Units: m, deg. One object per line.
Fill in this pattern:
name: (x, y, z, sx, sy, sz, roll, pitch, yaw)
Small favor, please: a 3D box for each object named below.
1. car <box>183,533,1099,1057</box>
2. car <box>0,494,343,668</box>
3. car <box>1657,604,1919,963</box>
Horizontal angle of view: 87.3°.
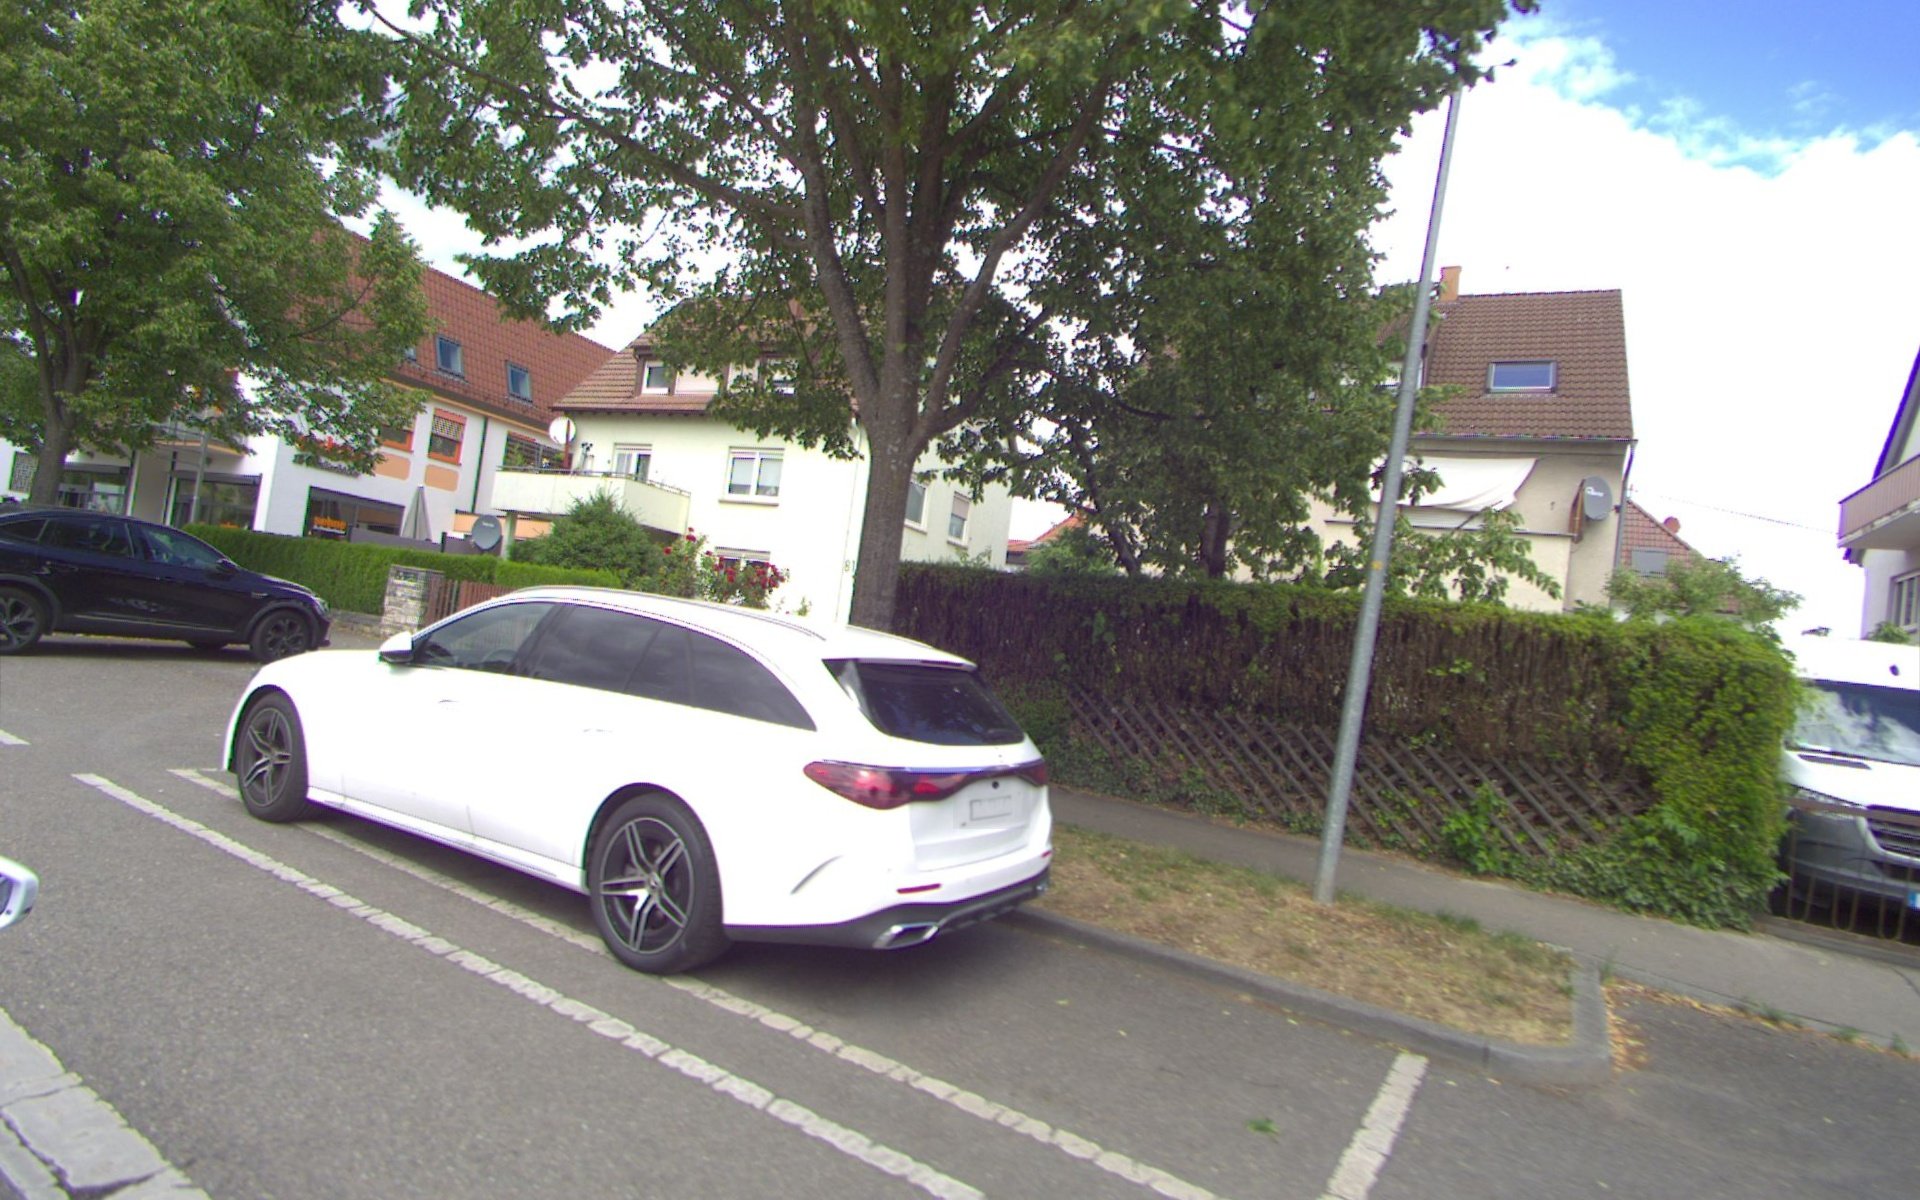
car: (-1.871, 0.676, 5.376, 4.730, 1.491, 1.810, 6, -3, 30)
car: (-9.731, -0.202, 11.480, 1.663, 1.657, 4.230, 7, -2, 26)
car: (8.790, 1.736, 9.991, 1.962, 2.621, 5.733, 8, -2, 27)
